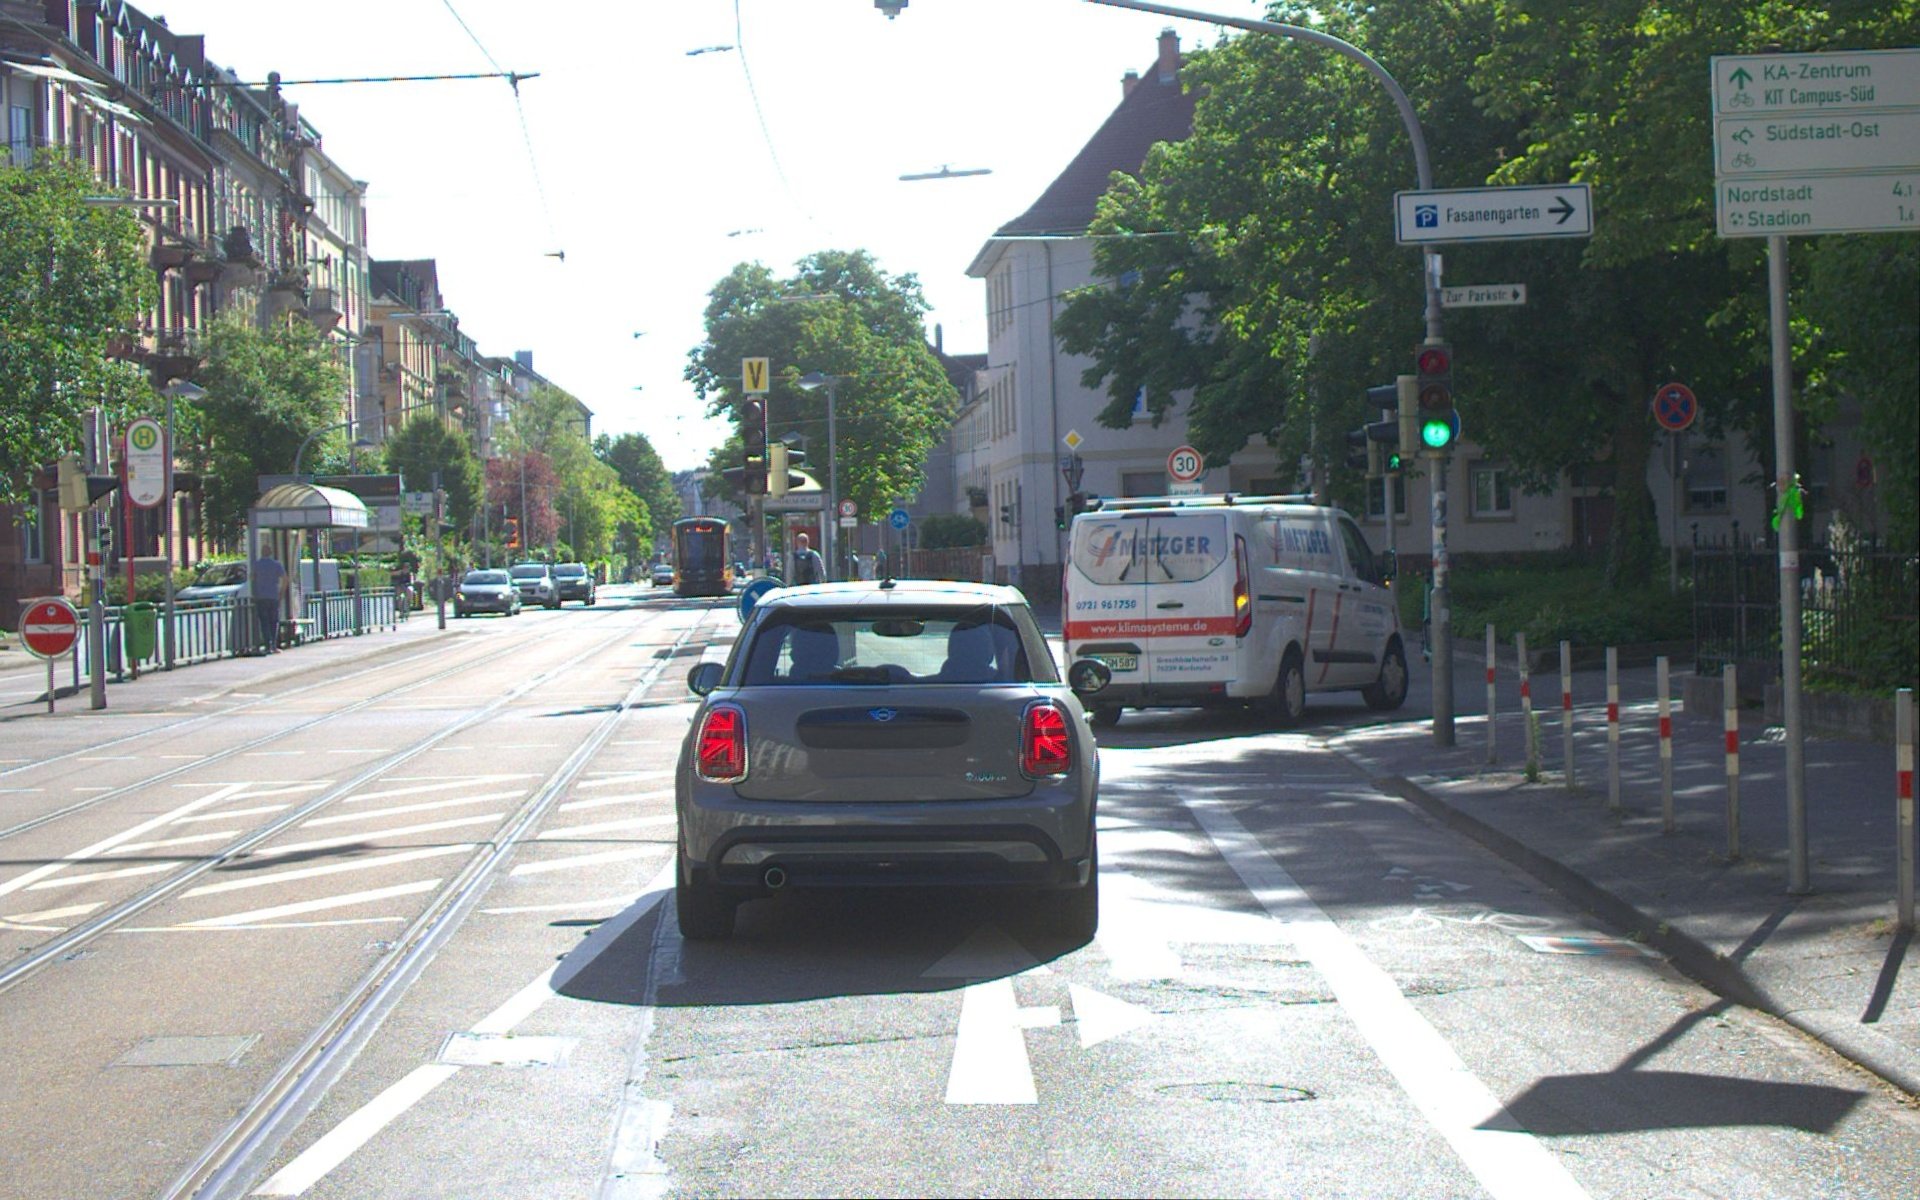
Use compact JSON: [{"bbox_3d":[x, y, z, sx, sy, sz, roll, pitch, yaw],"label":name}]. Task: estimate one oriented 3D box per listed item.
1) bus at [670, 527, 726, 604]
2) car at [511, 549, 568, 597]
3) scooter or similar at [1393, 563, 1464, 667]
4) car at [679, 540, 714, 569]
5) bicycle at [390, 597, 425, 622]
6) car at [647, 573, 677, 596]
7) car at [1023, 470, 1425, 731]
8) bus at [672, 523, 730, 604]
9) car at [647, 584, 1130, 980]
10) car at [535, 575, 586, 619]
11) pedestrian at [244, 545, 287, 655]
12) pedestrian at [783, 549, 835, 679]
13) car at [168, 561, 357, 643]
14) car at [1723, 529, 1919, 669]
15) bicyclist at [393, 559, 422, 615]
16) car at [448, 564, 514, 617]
[{"bbox_3d":[-12.194,-1.594,159.672,2.385,3.484,7.385,0,0,-6],"label":"bus"},{"bbox_3d":[-14.434,-0.926,118.075,1.775,1.612,4.001,0,0,-5],"label":"car"},{"bbox_3d":[5.982,0.190,43.954,0.676,1.306,1.329,0,0,-2],"label":"scooter or similar"},{"bbox_3d":[-14.207,-2.443,185.192,1.863,1.558,4.001,0,0,-5],"label":"car"},{"bbox_3d":[-16.598,0.282,103.301,0.719,0.747,1.916,0,0,1],"label":"bicycle"},{"bbox_3d":[-20.384,-1.067,235.433,1.993,1.590,4.001,0,0,-4],"label":"car"},{"bbox_3d":[2.542,-0.005,31.701,2.121,2.201,4.938,0,0,24],"label":"car"},{"bbox_3d":[-11.500,-1.580,152.294,2.385,3.484,7.385,0,0,-6],"label":"bus"},{"bbox_3d":[-0.319,0.681,15.010,1.815,1.483,4.000,0,0,-1],"label":"car"},{"bbox_3d":[-15.135,-0.125,130.455,1.775,1.612,4.001,0,0,-5],"label":"car"},{"bbox_3d":[-11.502,0.001,56.965,0.577,1.789,0.608,-2,1,-18],"label":"pedestrian"},{"bbox_3d":[-2.359,0.218,53.568,0.795,2.007,0.740,0,0,-3],"label":"pedestrian"},{"bbox_3d":[-17.505,0.038,86.560,1.996,2.007,5.022,0,0,26],"label":"car"},{"bbox_3d":[11.428,-0.029,41.386,3.986,1.612,2.000,0,0,-25],"label":"car"},{"bbox_3d":[-16.588,-0.381,103.231,0.713,1.660,0.734,0,0,1],"label":"bicyclist"},{"bbox_3d":[-14.920,-0.295,107.225,1.775,1.612,4.001,0,0,-5],"label":"car"}]
